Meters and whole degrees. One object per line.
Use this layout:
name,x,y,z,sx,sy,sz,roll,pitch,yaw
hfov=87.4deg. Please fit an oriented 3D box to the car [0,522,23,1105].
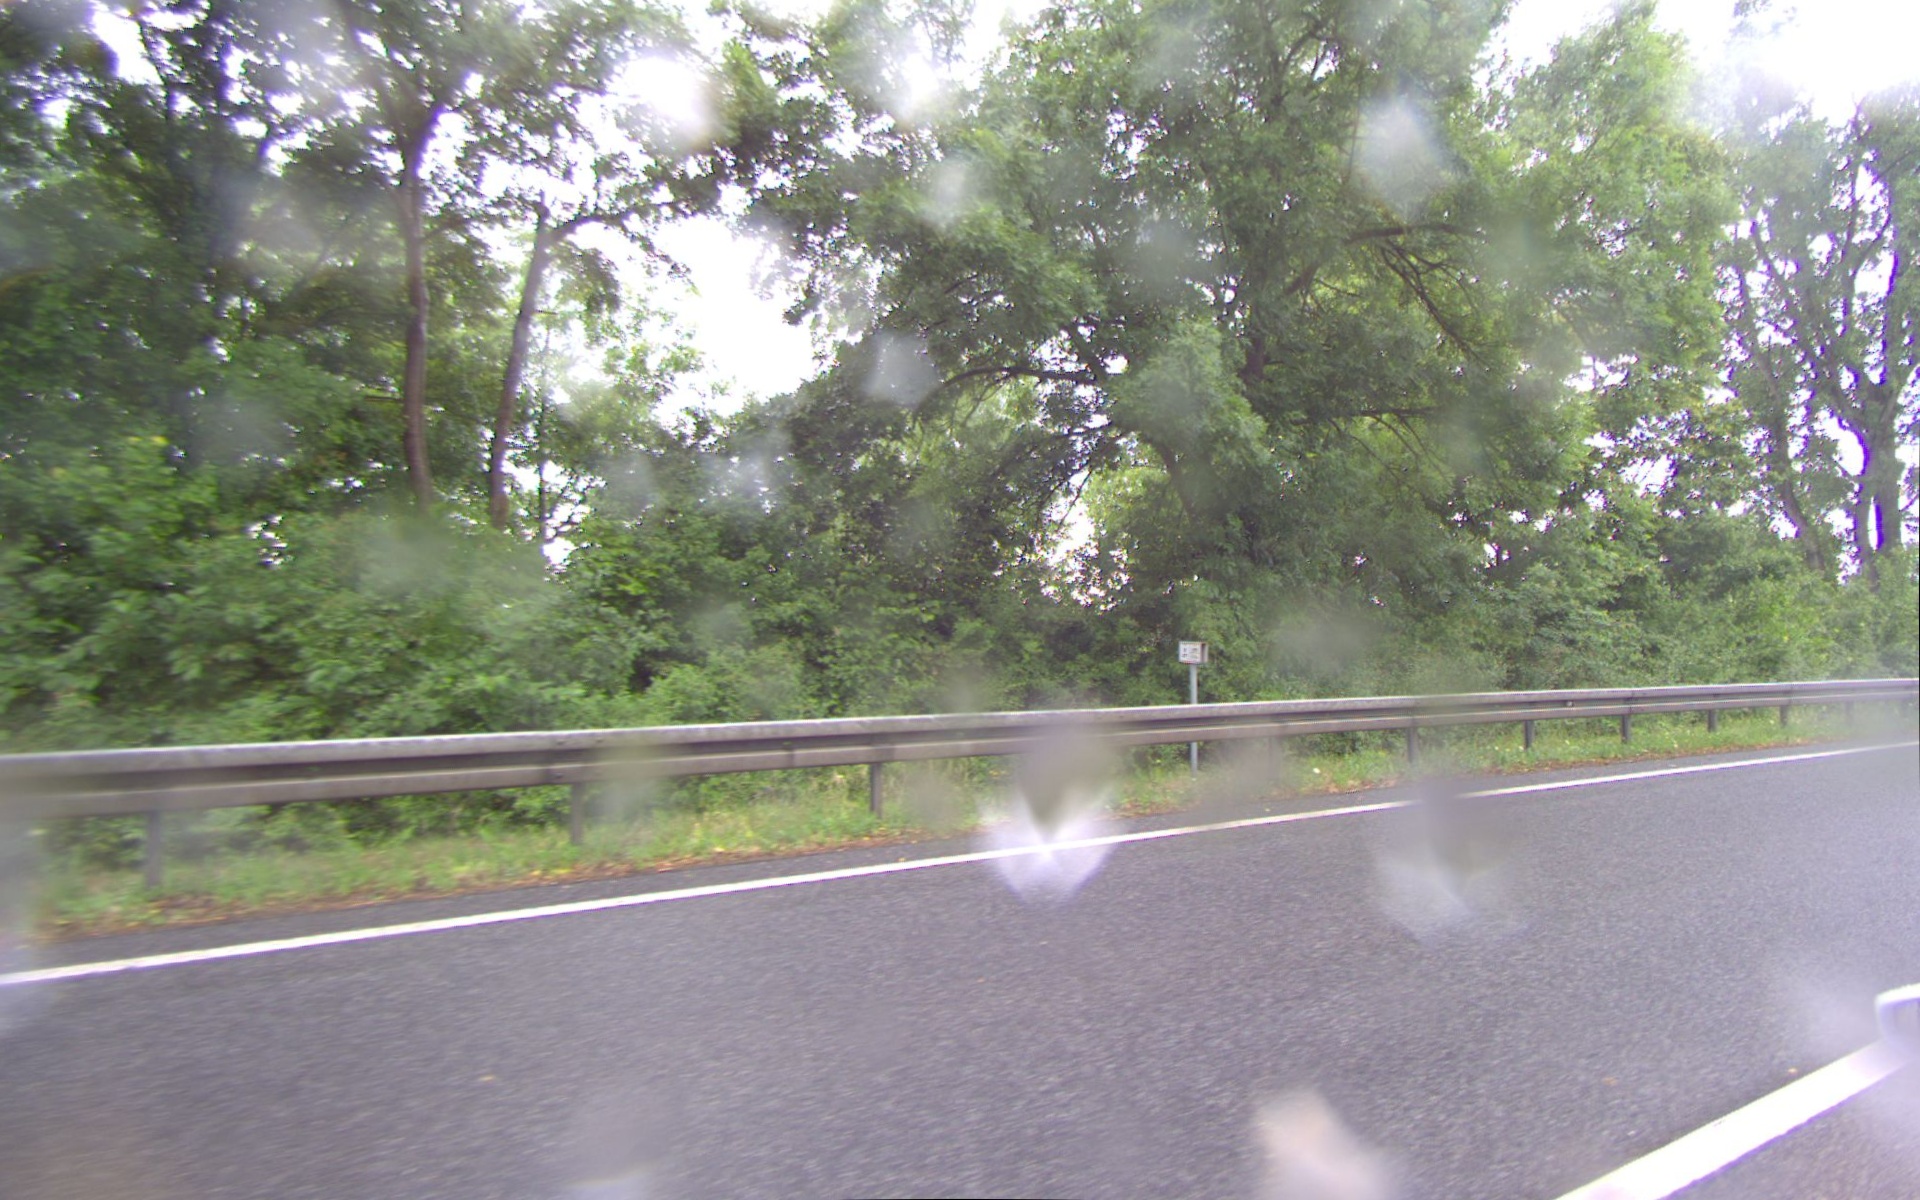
car,-4.125,0.547,1.022,4.323,1.595,1.684,1,0,-30
